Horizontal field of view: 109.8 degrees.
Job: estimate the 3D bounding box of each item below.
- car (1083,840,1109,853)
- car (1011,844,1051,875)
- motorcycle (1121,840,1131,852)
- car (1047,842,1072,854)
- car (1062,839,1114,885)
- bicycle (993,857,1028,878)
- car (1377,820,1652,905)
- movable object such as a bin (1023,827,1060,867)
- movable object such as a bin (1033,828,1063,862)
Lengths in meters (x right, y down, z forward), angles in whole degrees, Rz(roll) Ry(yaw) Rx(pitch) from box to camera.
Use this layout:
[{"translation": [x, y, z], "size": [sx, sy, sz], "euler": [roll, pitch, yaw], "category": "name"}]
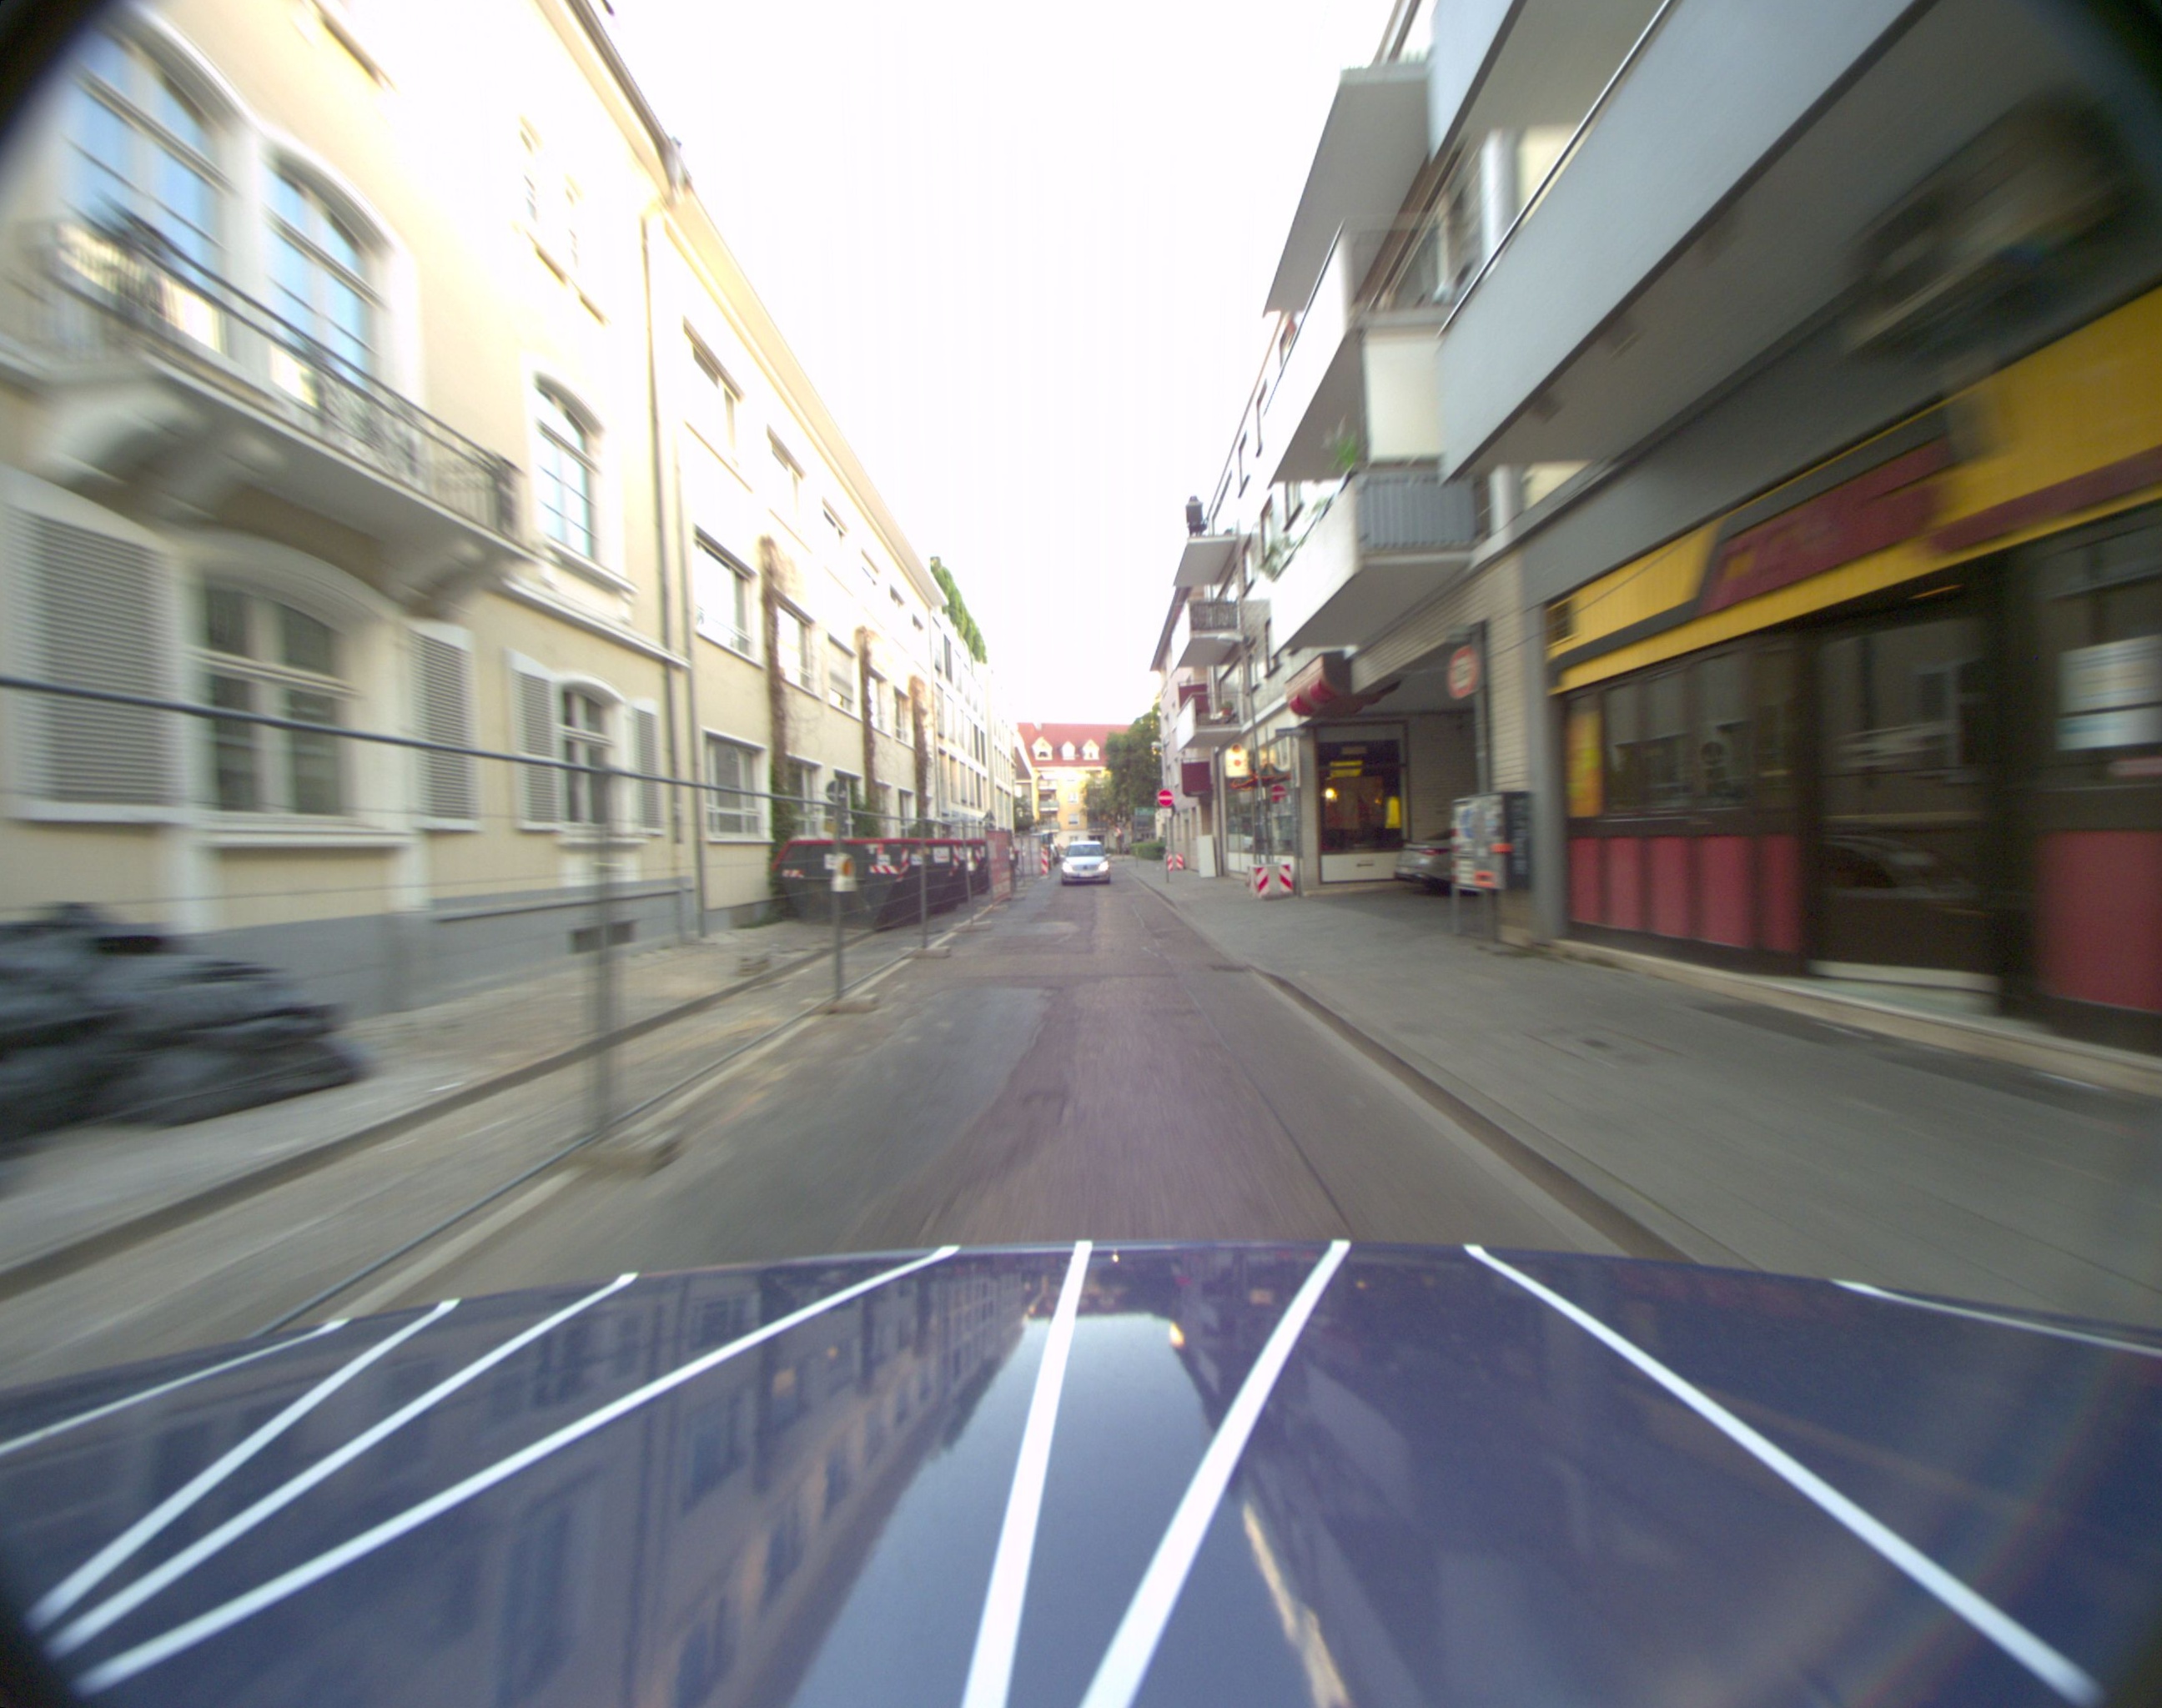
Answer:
[{"translation": [1.945, -1.003, 98.434], "size": [1.829, 1.460, 4.319], "euler": [-2, 3, -22], "category": "car"}, {"translation": [-2.714, 0.277, 42.408], "size": [1.791, 1.463, 4.445], "euler": [-4, 1, 1], "category": "car"}, {"translation": [5.186, -0.929, 87.224], "size": [0.858, 1.345, 1.960], "euler": [-2, 1, 10], "category": "motorcycle"}, {"translation": [-2.741, -0.770, 96.316], "size": [1.749, 1.395, 4.237], "euler": [-2, 3, -22], "category": "car"}, {"translation": [0.266, 0.277, 29.188], "size": [1.804, 1.608, 4.272], "euler": [-1, 0, 1], "category": "car"}, {"translation": [-3.193, 0.626, 34.137], "size": [1.802, 0.903, 0.460], "euler": [-2, 1, 45], "category": "bicycle"}, {"translation": [8.470, 0.144, 15.161], "size": [4.326, 1.414, 2.020], "euler": [-2, 1, -1], "category": "car"}, {"translation": [-2.789, -0.514, 54.795], "size": [2.021, 2.608, 5.750], "euler": [-4, 1, 1], "category": "movable object such as a bin"}, {"translation": [-2.745, -0.762, 64.681], "size": [2.021, 2.608, 5.749], "euler": [-4, 1, 1], "category": "movable object such as a bin"}]
